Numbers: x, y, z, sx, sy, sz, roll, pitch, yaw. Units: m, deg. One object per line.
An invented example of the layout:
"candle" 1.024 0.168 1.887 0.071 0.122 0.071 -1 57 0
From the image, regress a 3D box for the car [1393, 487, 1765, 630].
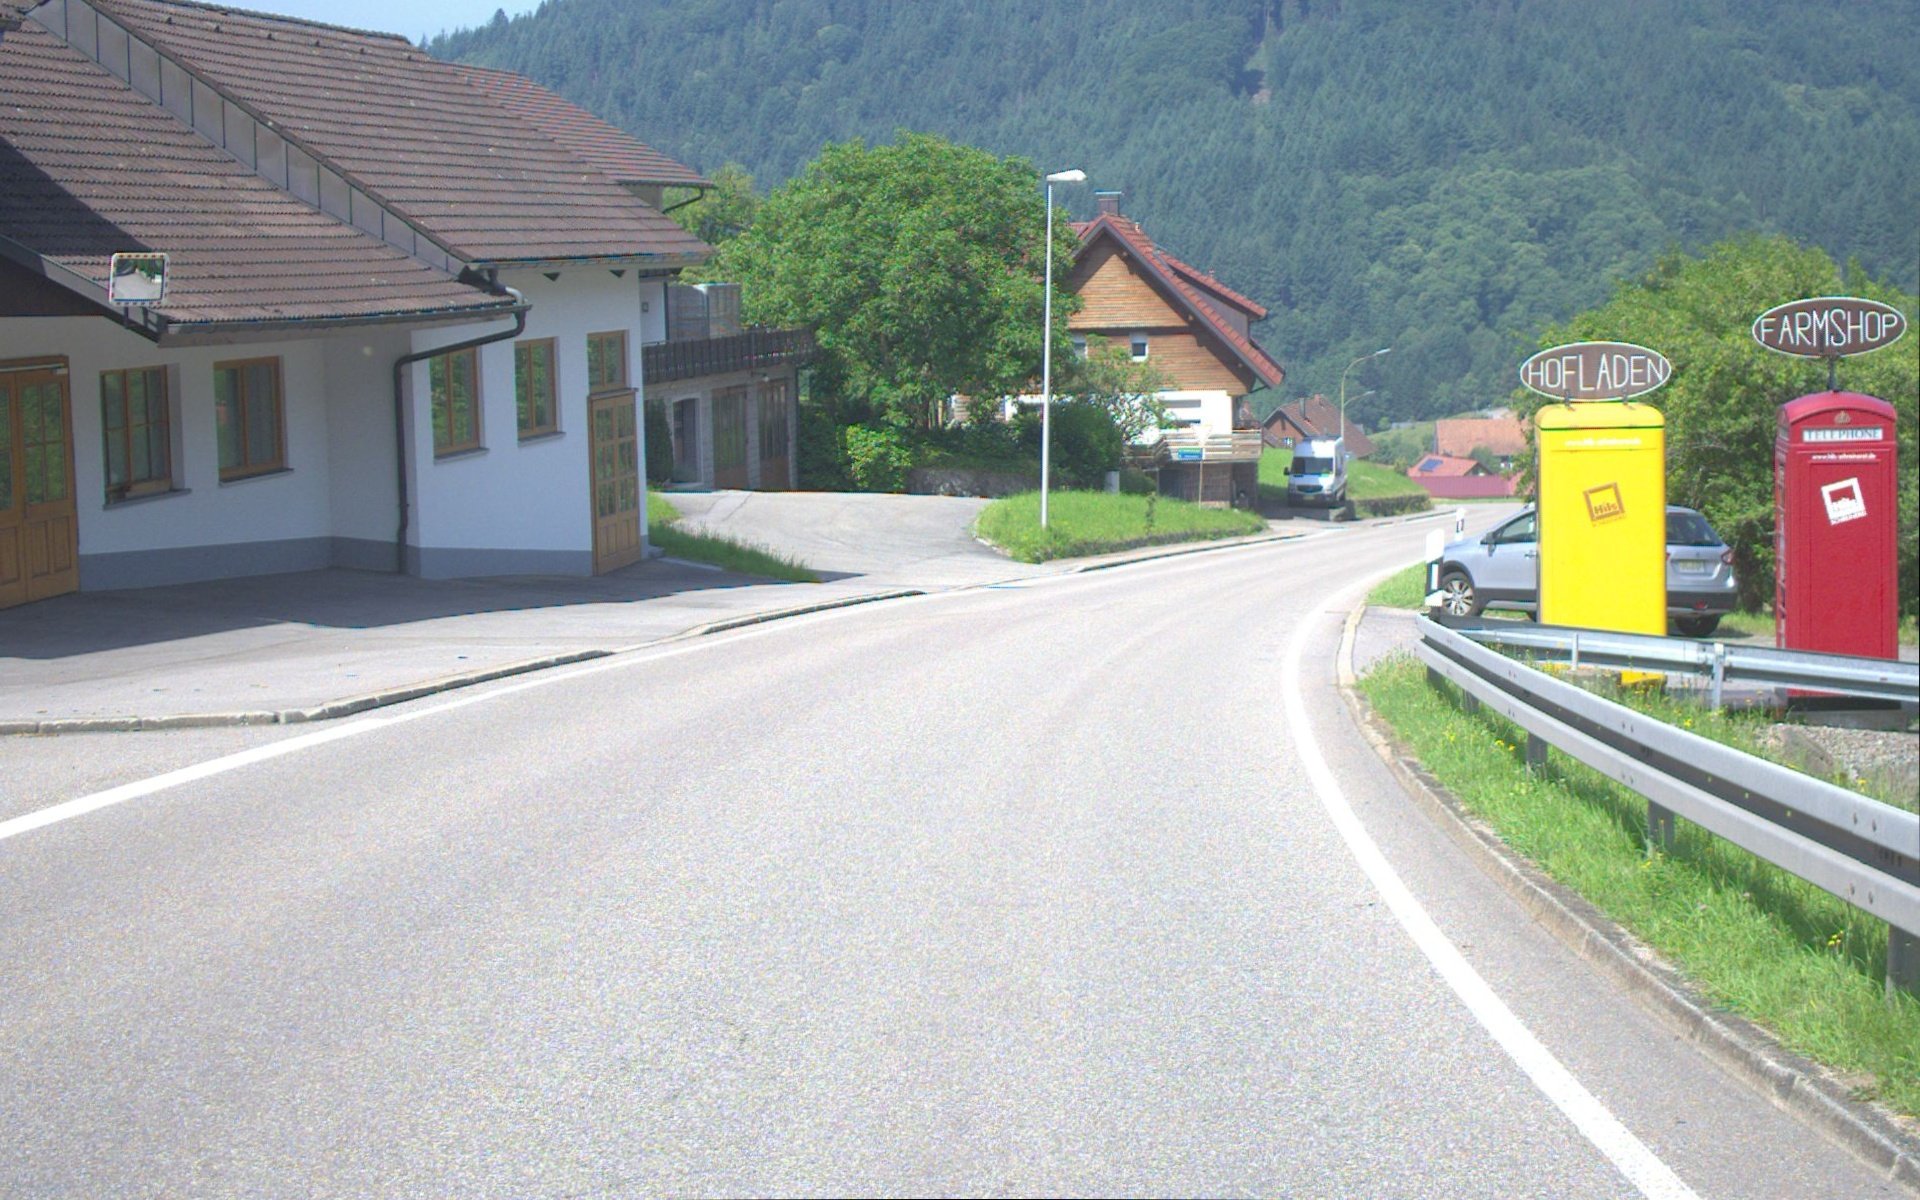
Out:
"car" 7.484 -0.535 41.992 1.899 1.565 4.462 0 2 -33

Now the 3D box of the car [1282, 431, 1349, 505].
"car" 14.860 -5.551 143.250 2.068 2.679 7.172 0 5 11
